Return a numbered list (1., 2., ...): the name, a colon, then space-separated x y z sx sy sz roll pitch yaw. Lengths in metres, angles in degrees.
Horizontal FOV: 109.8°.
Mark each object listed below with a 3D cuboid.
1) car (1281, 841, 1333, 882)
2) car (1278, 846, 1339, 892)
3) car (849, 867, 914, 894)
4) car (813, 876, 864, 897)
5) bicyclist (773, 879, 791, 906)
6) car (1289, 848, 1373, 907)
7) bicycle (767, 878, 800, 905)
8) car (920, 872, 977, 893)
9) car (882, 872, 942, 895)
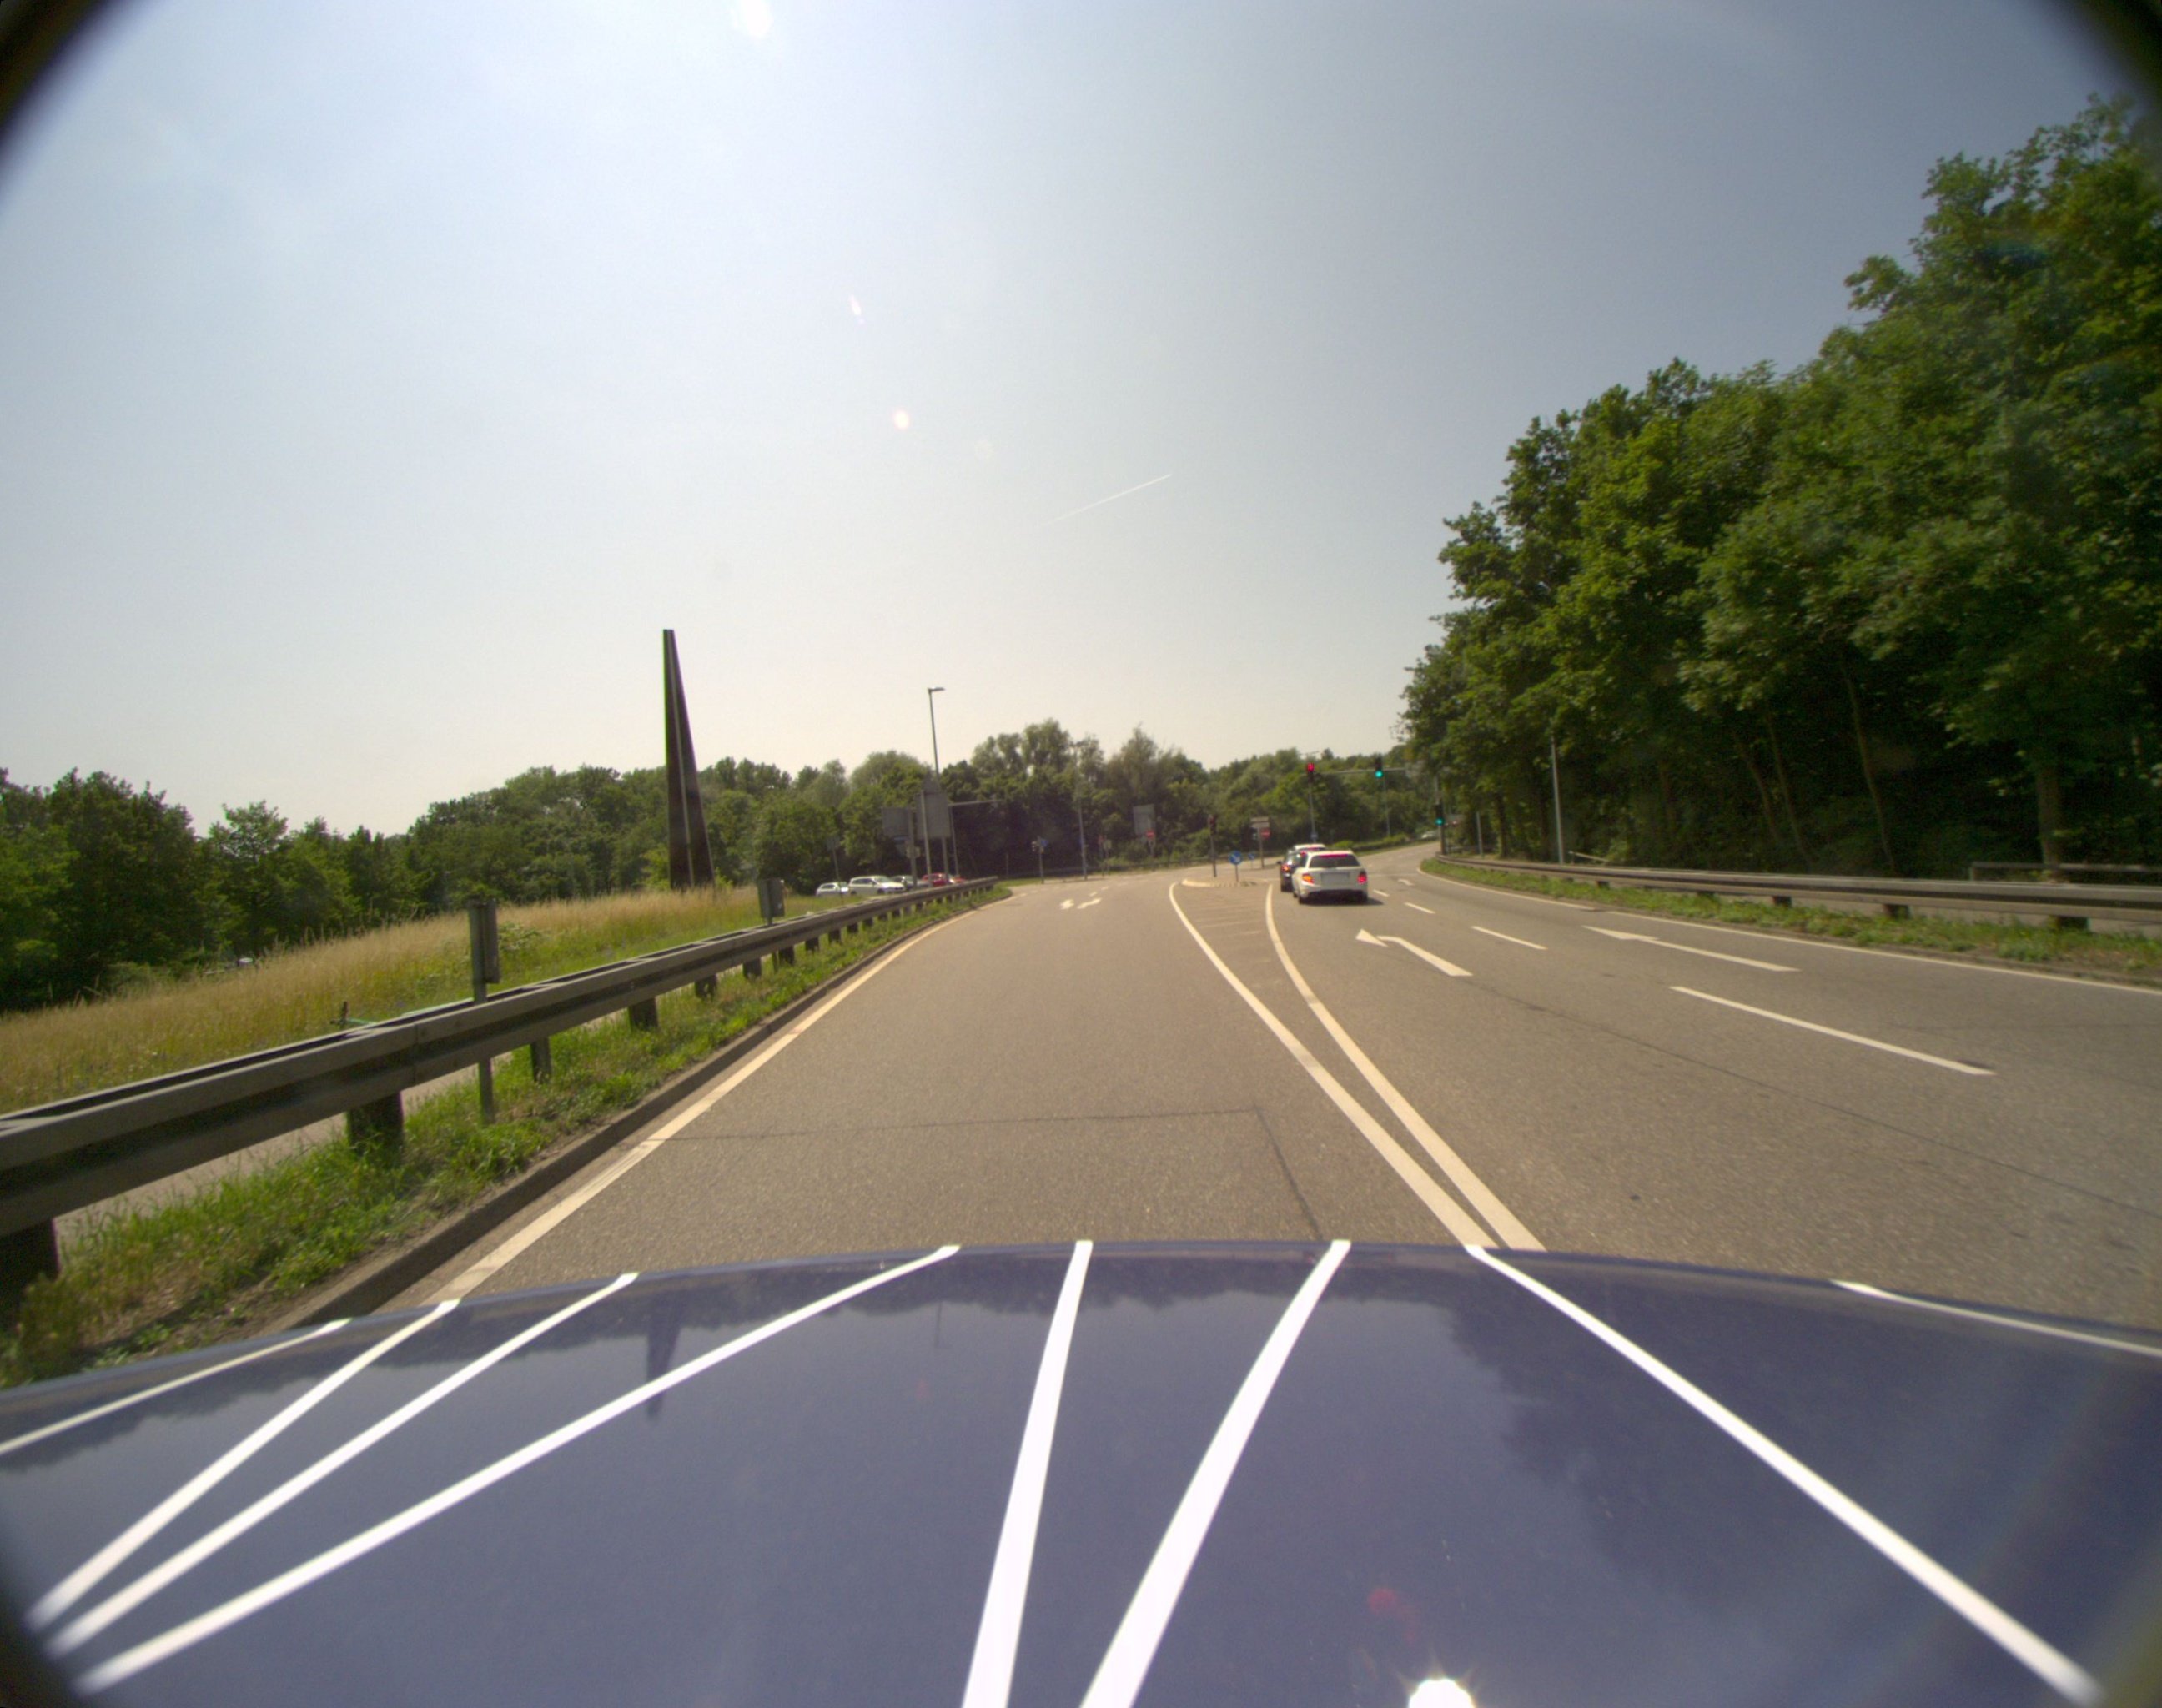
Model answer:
1. car: 10.187 0.293 34.530 1.831 1.629 4.582 -3 0 12
2. car: 8.129 0.484 27.498 1.830 1.398 4.551 -3 0 14
3. car: -13.799 1.842 52.482 4.286 1.497 1.871 -4 0 34
4. car: -19.155 2.555 59.960 3.990 1.422 1.585 -4 0 34
5. bicyclist: -18.286 2.351 46.509 0.690 1.589 0.672 -4 1 38
6. car: 6.918 0.580 21.447 1.830 1.398 4.892 -2 1 14
7. bicycle: -18.199 2.298 46.429 2.368 1.565 0.657 -4 1 38
8. car: -10.253 2.195 58.687 4.176 1.346 1.758 -4 0 34
9. car: -12.486 2.160 55.997 4.176 1.415 1.871 -4 0 34
